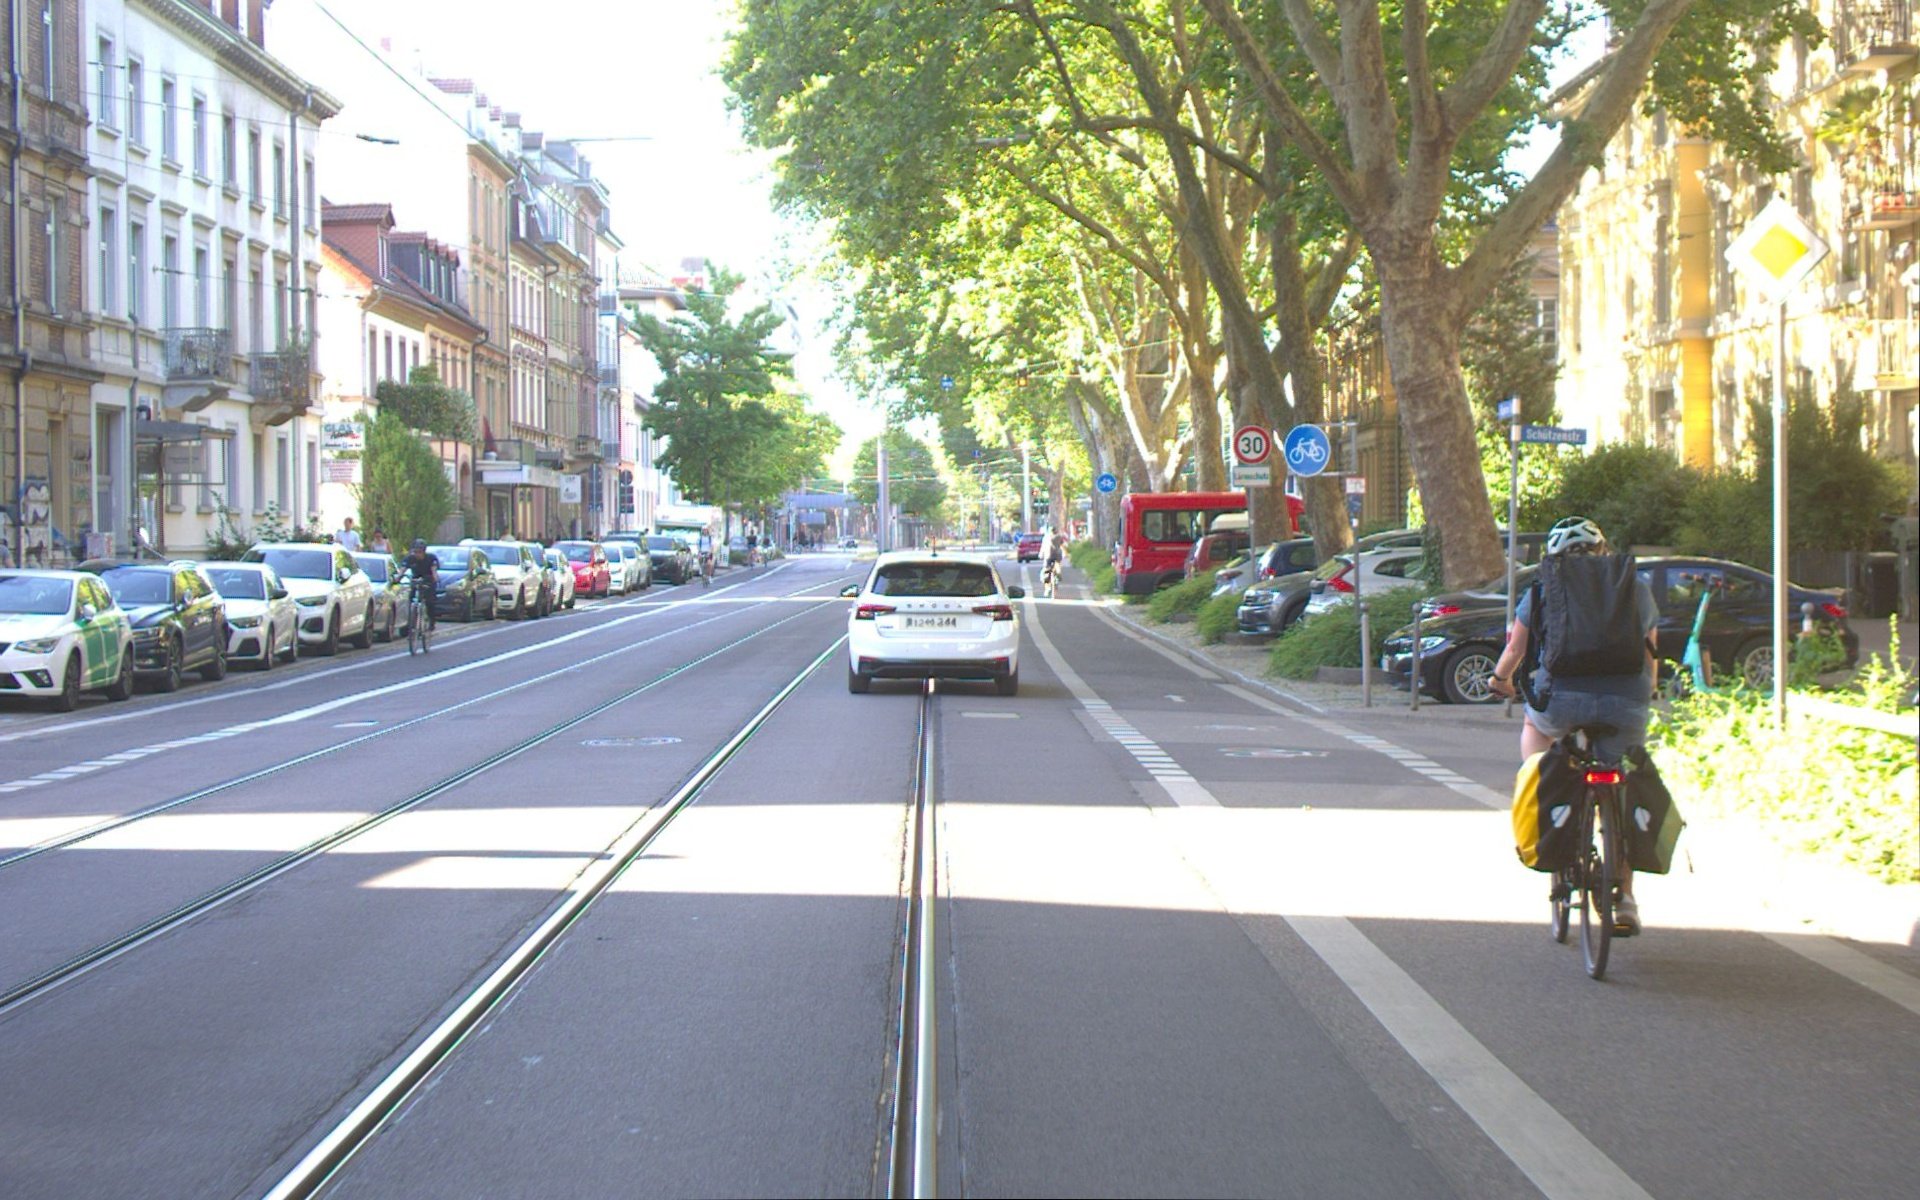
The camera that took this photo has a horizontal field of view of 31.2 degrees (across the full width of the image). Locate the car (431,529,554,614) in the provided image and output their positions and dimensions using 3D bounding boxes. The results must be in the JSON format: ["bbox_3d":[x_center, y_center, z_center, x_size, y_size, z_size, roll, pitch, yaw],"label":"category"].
[{"bbox_3d":[-9.856,-0.641,72.767,1.857,1.698,4.763,-1,1,1],"label":"car"}]

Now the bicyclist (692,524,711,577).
[{"bbox_3d":[-8.089,-1.546,107.592,0.473,1.630,0.800,-1,1,1],"label":"bicyclist"}]

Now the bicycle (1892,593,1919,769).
[{"bbox_3d":[7.315,0.538,23.004,2.043,1.175,0.413,0,0,9],"label":"bicycle"}]

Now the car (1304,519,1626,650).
[{"bbox_3d":[6.780,-0.222,46.392,4.027,1.638,1.681,-1,1,-2],"label":"car"}]

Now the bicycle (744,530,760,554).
[{"bbox_3d":[-9.437,-2.642,156.282,0.484,1.044,2.039,-2,1,2],"label":"bicycle"}]

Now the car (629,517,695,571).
[{"bbox_3d":[-10.421,-1.981,120.389,1.964,1.775,4.938,2,1,-2],"label":"car"}]

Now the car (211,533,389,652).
[{"bbox_3d":[-9.991,-0.150,52.345,1.786,1.717,4.719,1,1,0],"label":"car"}]

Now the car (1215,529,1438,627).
[{"bbox_3d":[6.240,-0.386,58.803,3.595,1.512,1.694,-2,1,0],"label":"car"}]

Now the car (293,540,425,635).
[{"bbox_3d":[-10.068,-0.238,57.825,1.662,1.515,4.065,1,1,-2],"label":"car"}]

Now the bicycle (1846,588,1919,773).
[{"bbox_3d":[6.711,0.508,21.886,2.043,1.175,0.413,0,0,9],"label":"bicycle"}]

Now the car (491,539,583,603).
[{"bbox_3d":[-10.232,-0.728,83.348,1.687,1.472,4.258,1,1,0],"label":"car"}]

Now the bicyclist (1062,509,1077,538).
[{"bbox_3d":[6.110,-4.268,191.746,0.737,1.583,0.586,-1,1,13],"label":"bicyclist"}]

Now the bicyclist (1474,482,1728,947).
[{"bbox_3d":[2.257,0.381,12.198,0.614,1.547,0.935,4,1,0],"label":"bicyclist"}]

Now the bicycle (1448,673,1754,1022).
[{"bbox_3d":[2.255,0.829,12.392,0.595,1.001,2.511,2,1,0],"label":"bicycle"}]

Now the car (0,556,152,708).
[{"bbox_3d":[-9.905,0.299,36.548,1.740,1.486,4.045,1,1,-1],"label":"car"}]

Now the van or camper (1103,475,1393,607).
[{"bbox_3d":[6.075,-1.278,73.038,5.814,2.510,2.288,-3,2,-2],"label":"van or camper"}]

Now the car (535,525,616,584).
[{"bbox_3d":[-10.453,-1.252,93.543,1.569,1.557,3.448,-1,1,4],"label":"car"}]

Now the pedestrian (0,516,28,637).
[{"bbox_3d":[-13.442,-0.331,47.623,0.663,1.659,0.767,1,1,32],"label":"pedestrian"}]

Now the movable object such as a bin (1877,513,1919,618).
[{"bbox_3d":[13.585,-0.505,48.091,1.167,1.432,1.117,-2,1,0],"label":"movable object such as a bin"}]

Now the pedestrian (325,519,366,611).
[{"bbox_3d":[-13.612,-0.783,76.206,0.759,2.007,0.830,-1,1,-2],"label":"pedestrian"}]

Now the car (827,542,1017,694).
[{"bbox_3d":[-0.439,0.142,35.512,1.842,1.475,3.839,0,1,-2],"label":"car"}]

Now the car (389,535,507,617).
[{"bbox_3d":[-10.039,-0.494,67.662,1.554,1.510,3.924,-1,1,2],"label":"car"}]

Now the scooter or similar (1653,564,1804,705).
[{"bbox_3d":[6.900,0.308,30.885,1.307,1.251,0.341,0,1,14],"label":"scooter or similar"}]

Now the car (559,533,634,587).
[{"bbox_3d":[-10.464,-1.177,99.193,1.827,1.497,4.689,1,1,-2],"label":"car"}]

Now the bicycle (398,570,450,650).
[{"bbox_3d":[-7.986,0.139,51.273,0.421,1.146,2.232,-2,1,-1],"label":"bicycle"}]

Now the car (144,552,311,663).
[{"bbox_3d":[-9.970,0.077,47.012,1.699,1.415,4.001,1,1,-4],"label":"car"}]

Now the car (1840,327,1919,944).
[{"bbox_3d":[6.529,0.084,12.790,5.991,2.274,2.006,-1,2,2],"label":"car"}]

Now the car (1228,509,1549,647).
[{"bbox_3d":[6.122,-0.333,49.428,4.262,1.713,1.849,-3,1,-2],"label":"car"}]

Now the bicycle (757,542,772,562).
[{"bbox_3d":[-9.325,-2.297,163.655,0.499,0.940,1.921,-2,1,2],"label":"bicycle"}]

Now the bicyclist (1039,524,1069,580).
[{"bbox_3d":[2.269,-1.157,82.955,0.679,1.334,0.525,1,1,0],"label":"bicyclist"}]

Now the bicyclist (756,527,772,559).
[{"bbox_3d":[-9.318,-2.720,163.583,0.638,1.498,1.070,-2,1,1],"label":"bicyclist"}]

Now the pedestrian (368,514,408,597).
[{"bbox_3d":[-12.675,-0.995,76.183,0.759,1.815,0.830,-1,1,-3],"label":"pedestrian"}]

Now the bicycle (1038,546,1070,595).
[{"bbox_3d":[2.255,-0.725,82.646,0.680,1.151,2.964,1,1,0],"label":"bicycle"}]

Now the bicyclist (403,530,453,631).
[{"bbox_3d":[-7.923,-0.297,51.243,0.582,1.477,0.807,-1,1,-1],"label":"bicyclist"}]

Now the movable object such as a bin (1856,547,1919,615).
[{"bbox_3d":[13.472,-0.279,49.943,0.747,0.940,0.465,-2,1,0],"label":"movable object such as a bin"}]

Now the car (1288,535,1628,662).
[{"bbox_3d":[6.307,-0.035,43.789,4.027,1.475,1.681,-1,1,-1],"label":"car"}]

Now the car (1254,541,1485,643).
[{"bbox_3d":[6.682,-0.137,56.285,3.595,1.594,1.541,-1,0,1],"label":"car"}]

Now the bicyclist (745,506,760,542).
[{"bbox_3d":[-9.464,-3.459,156.519,0.535,1.629,0.896,-3,1,2],"label":"bicyclist"}]

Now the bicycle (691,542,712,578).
[{"bbox_3d":[-8.086,-1.256,107.571,0.481,1.082,1.846,-1,1,1],"label":"bicycle"}]

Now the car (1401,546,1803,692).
[{"bbox_3d":[6.856,0.190,37.024,4.097,1.486,1.681,-1,1,5],"label":"car"}]

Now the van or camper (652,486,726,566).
[{"bbox_3d":[-10.946,-2.997,139.520,2.217,3.129,7.113,0,1,2],"label":"van or camper"}]

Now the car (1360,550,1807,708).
[{"bbox_3d":[6.204,0.270,34.512,4.096,1.486,1.831,-1,1,-2],"label":"car"}]

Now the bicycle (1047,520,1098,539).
[{"bbox_3d":[6.273,-3.944,191.709,2.772,0.996,0.592,1,1,15],"label":"bicycle"}]

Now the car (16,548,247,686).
[{"bbox_3d":[-10.008,0.158,41.848,1.740,1.557,4.787,1,1,-1],"label":"car"}]

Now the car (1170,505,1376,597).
[{"bbox_3d":[6.208,-0.962,68.476,3.818,1.643,1.767,-2,0,-2],"label":"car"}]
